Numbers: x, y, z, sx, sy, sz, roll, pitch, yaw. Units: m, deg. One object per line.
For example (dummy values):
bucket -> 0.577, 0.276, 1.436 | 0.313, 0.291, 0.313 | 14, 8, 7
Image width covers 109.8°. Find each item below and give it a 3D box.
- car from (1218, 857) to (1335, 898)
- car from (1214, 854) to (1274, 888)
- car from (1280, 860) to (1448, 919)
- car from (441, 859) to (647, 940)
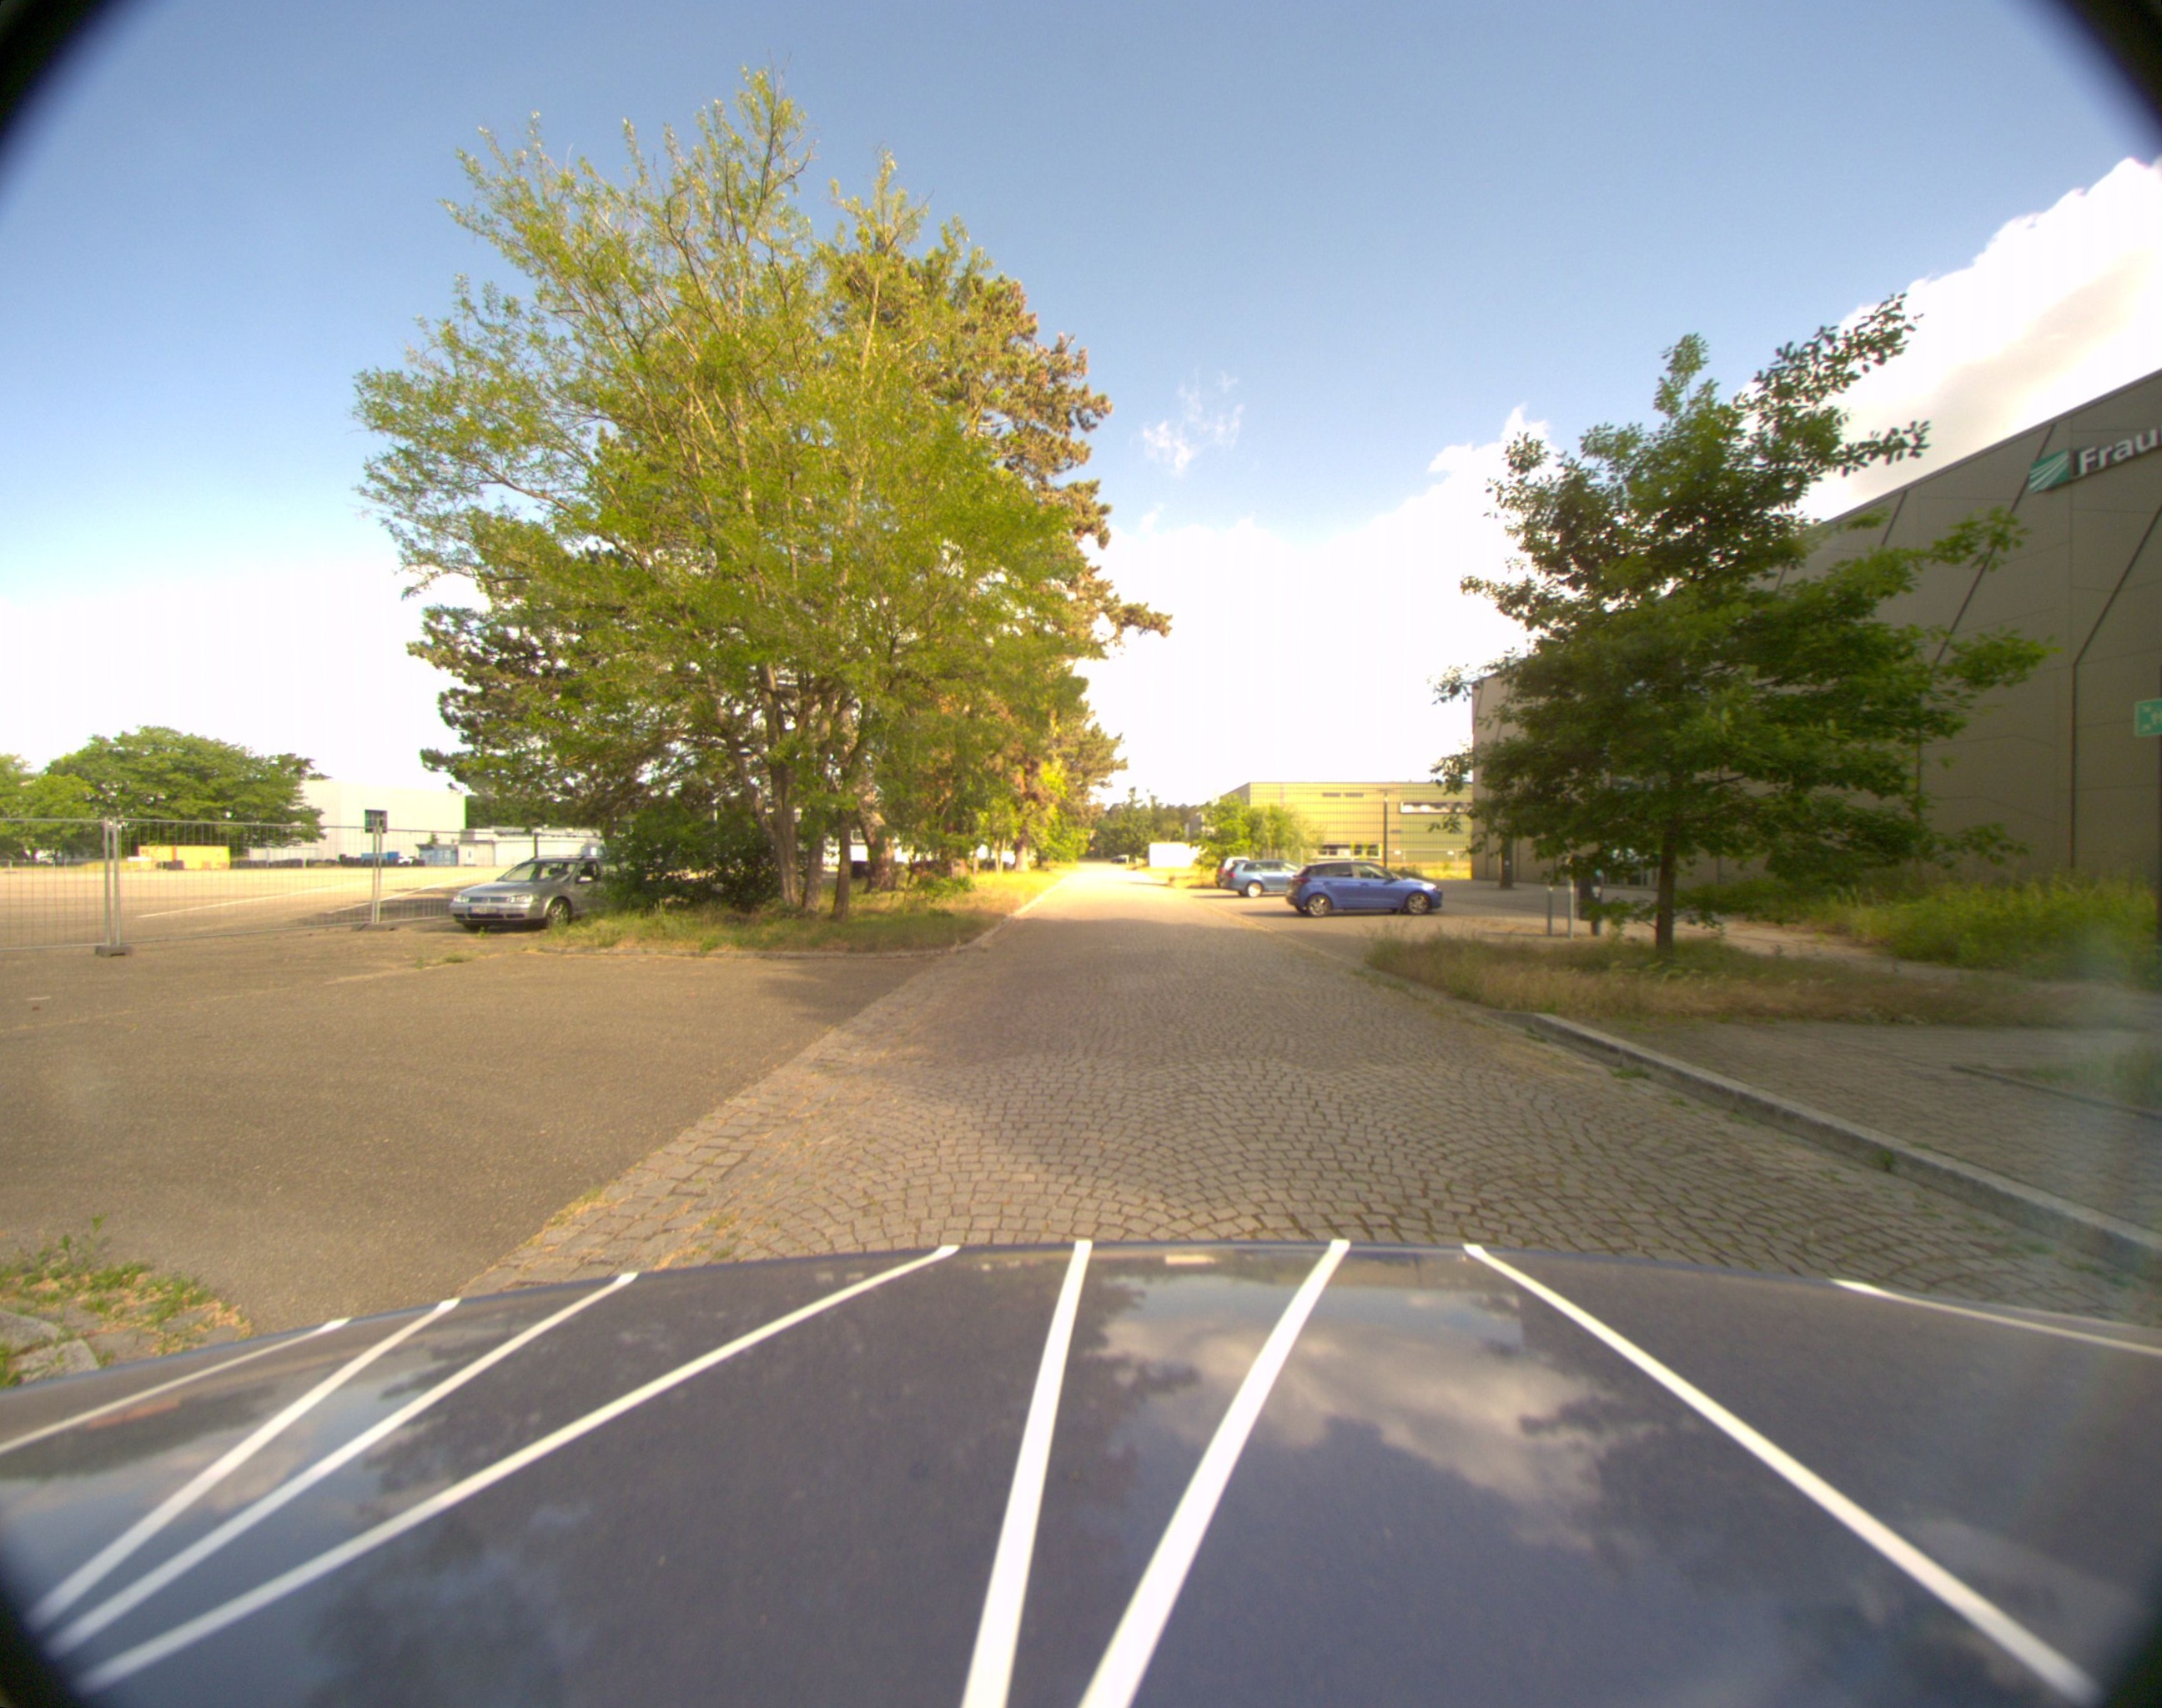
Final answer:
car -> 7.690, 0.899, 30.176 | 4.179, 1.465, 1.734 | -1, 0, -1
car -> 8.022, 0.832, 37.560 | 2.652, 1.559, 1.481 | -1, 0, 0
car -> 7.610, 0.943, 20.719 | 3.917, 1.459, 1.735 | -1, 0, 4
car -> -10.972, 0.841, 15.915 | 1.578, 1.435, 3.985 | 0, 0, -2
